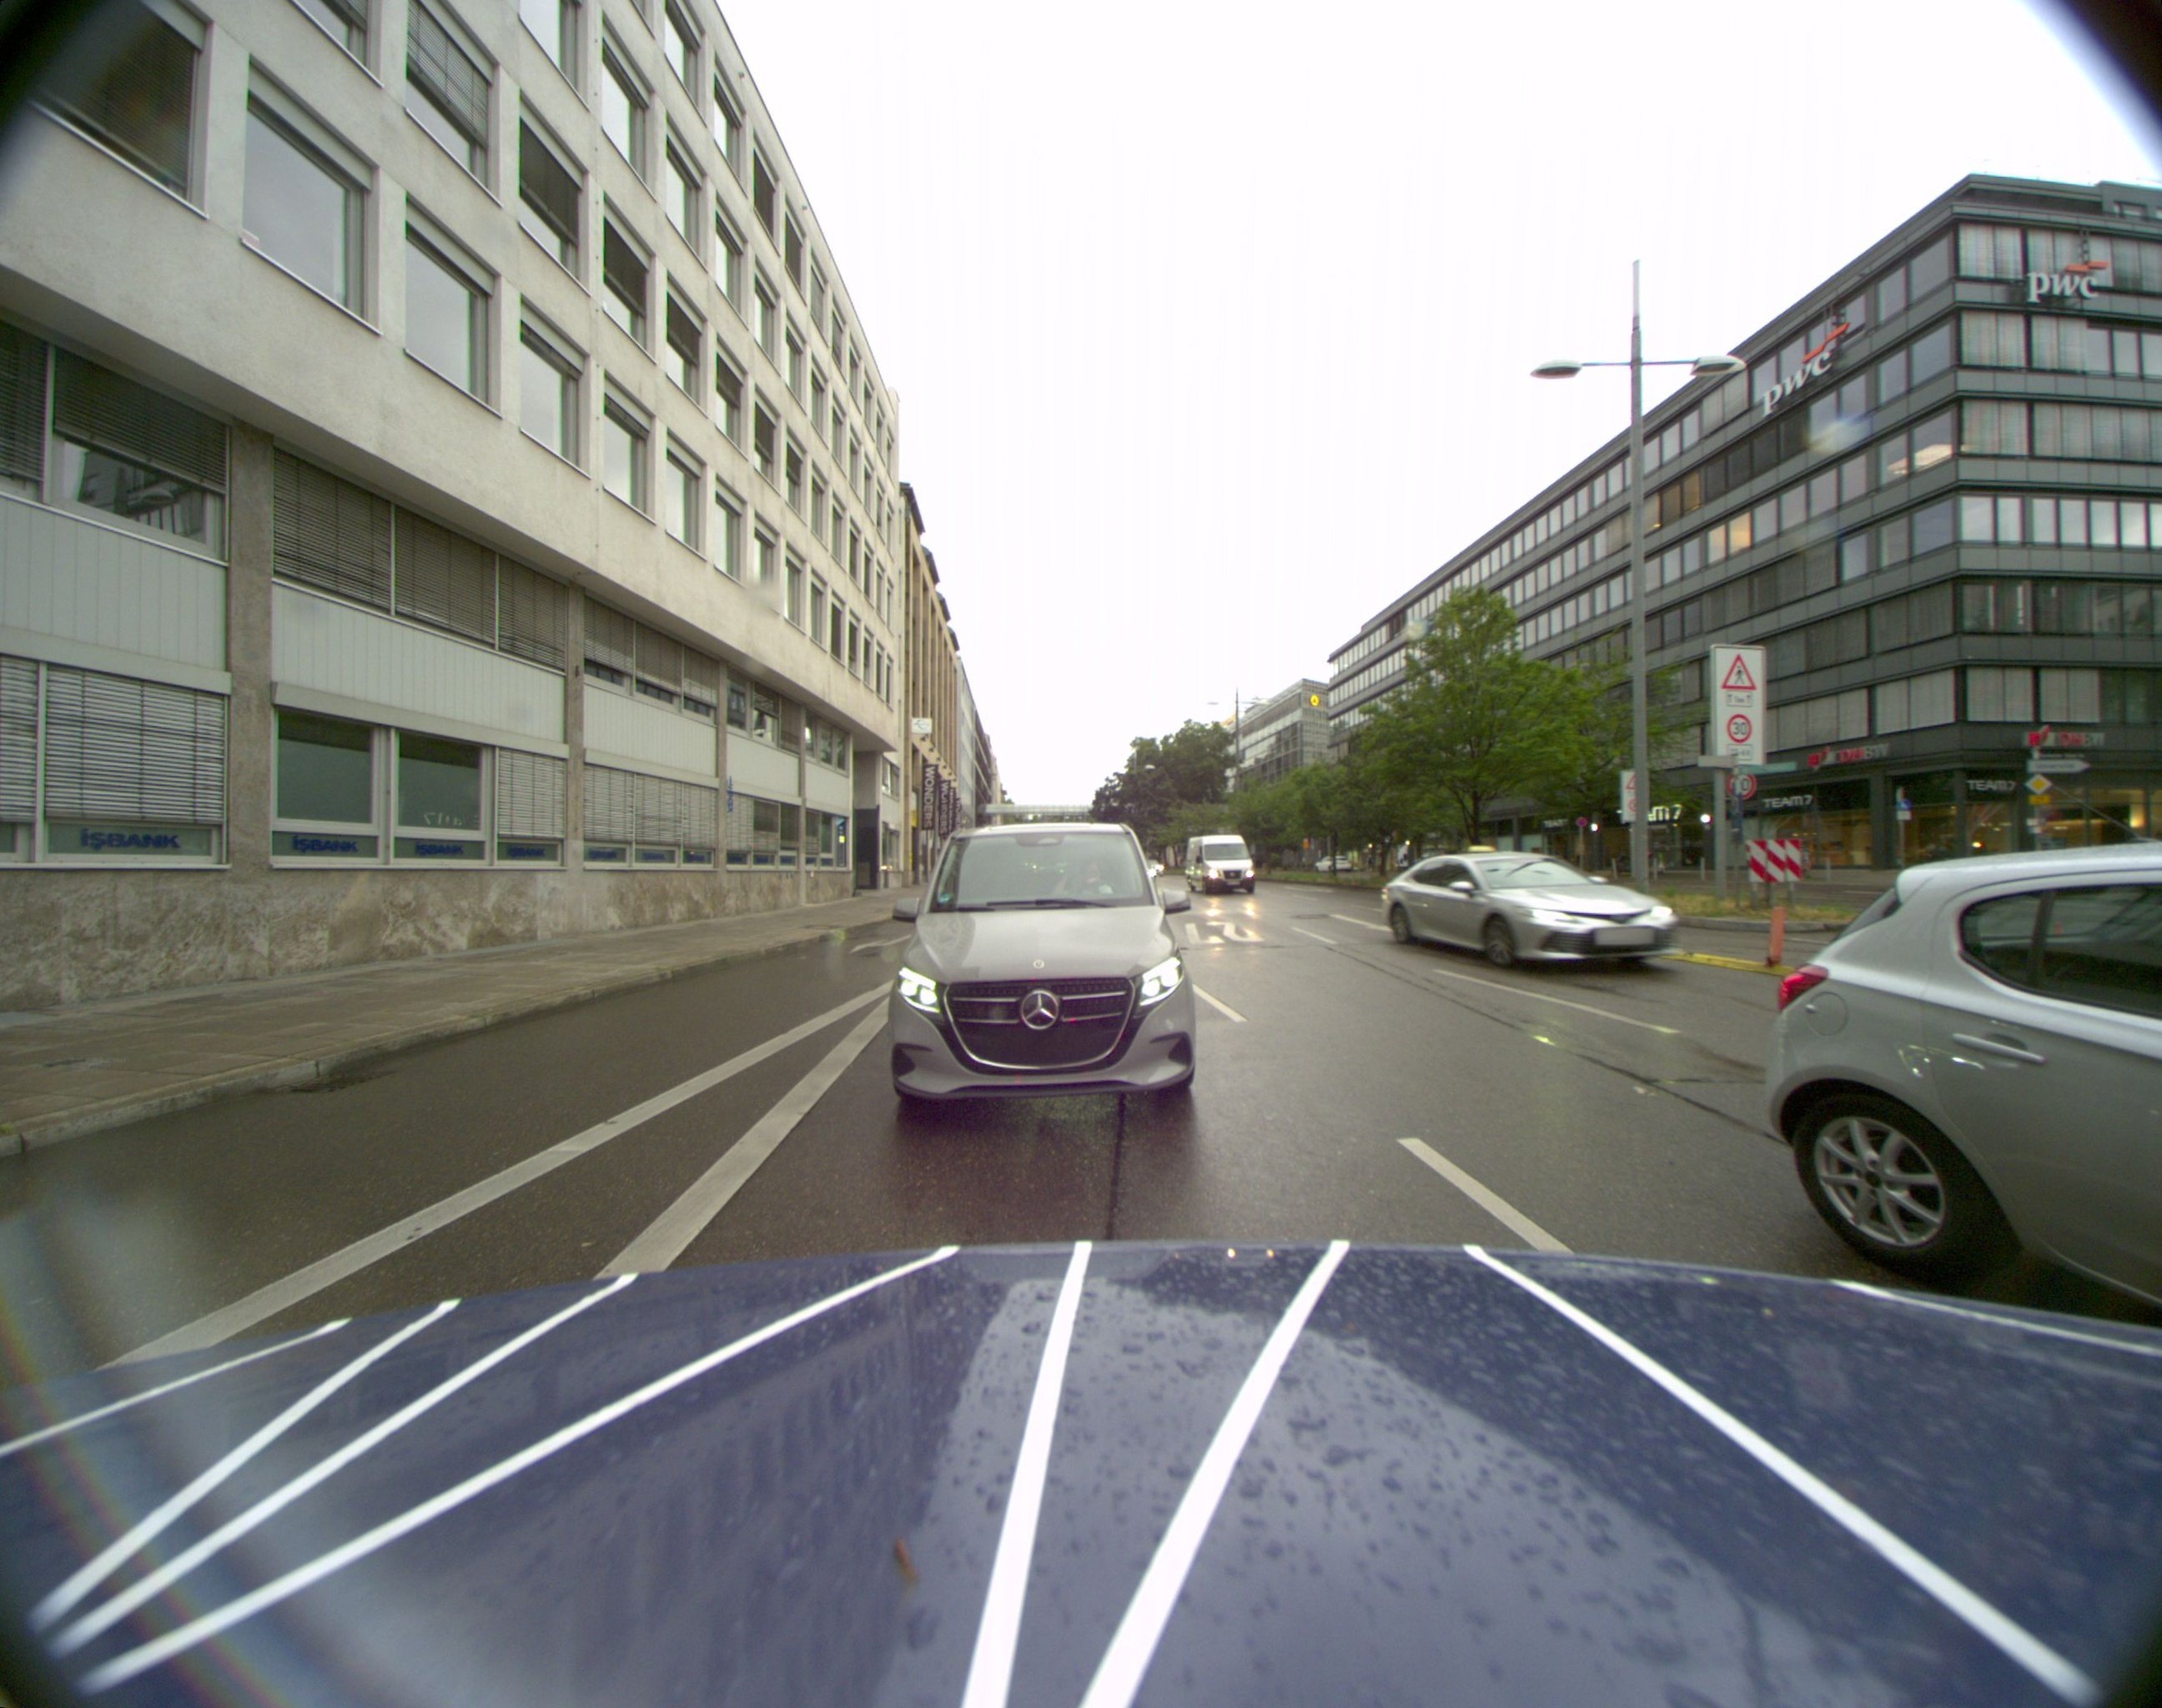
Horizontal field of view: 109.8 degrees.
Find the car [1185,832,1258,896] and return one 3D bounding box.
[{"bbox_3d":[5.866,0.415,32.382,1.951,2.426,5.480,-2,0,0],"label":"car"}]

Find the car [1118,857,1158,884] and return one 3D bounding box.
[{"bbox_3d":[3.338,0.927,44.910,1.776,1.427,4.093,-2,0,-4],"label":"car"}]

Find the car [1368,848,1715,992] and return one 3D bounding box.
[{"bbox_3d":[6.024,0.736,10.816,1.870,1.524,4.776,-2,0,-2],"label":"car"}]

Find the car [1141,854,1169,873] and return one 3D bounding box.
[{"bbox_3d":[6.351,0.807,65.495,1.766,1.608,3.494,-2,0,-6],"label":"car"}]

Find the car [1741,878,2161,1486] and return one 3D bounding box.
[{"bbox_3d":[3.506,0.834,1.119,1.652,1.427,3.875,-2,0,0],"label":"car"}]

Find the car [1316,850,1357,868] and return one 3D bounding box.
[{"bbox_3d":[22.386,0.449,66.675,1.999,1.498,3.999,-2,0,-4],"label":"car"}]

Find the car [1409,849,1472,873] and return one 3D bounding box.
[{"bbox_3d":[23.639,0.440,50.130,1.999,1.498,4.106,-2,0,-4],"label":"car"}]

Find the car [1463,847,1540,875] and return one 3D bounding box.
[{"bbox_3d":[24.097,0.381,43.672,1.999,1.498,3.999,-2,0,-4],"label":"car"}]

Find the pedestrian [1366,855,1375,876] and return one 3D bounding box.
[{"bbox_3d":[28.321,1.112,74.327,0.689,2.002,0.501,-2,0,-3],"label":"pedestrian"}]

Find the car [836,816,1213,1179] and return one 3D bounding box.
[{"bbox_3d":[-0.312,0.764,6.518,1.916,1.844,5.026,-2,0,0],"label":"car"}]
